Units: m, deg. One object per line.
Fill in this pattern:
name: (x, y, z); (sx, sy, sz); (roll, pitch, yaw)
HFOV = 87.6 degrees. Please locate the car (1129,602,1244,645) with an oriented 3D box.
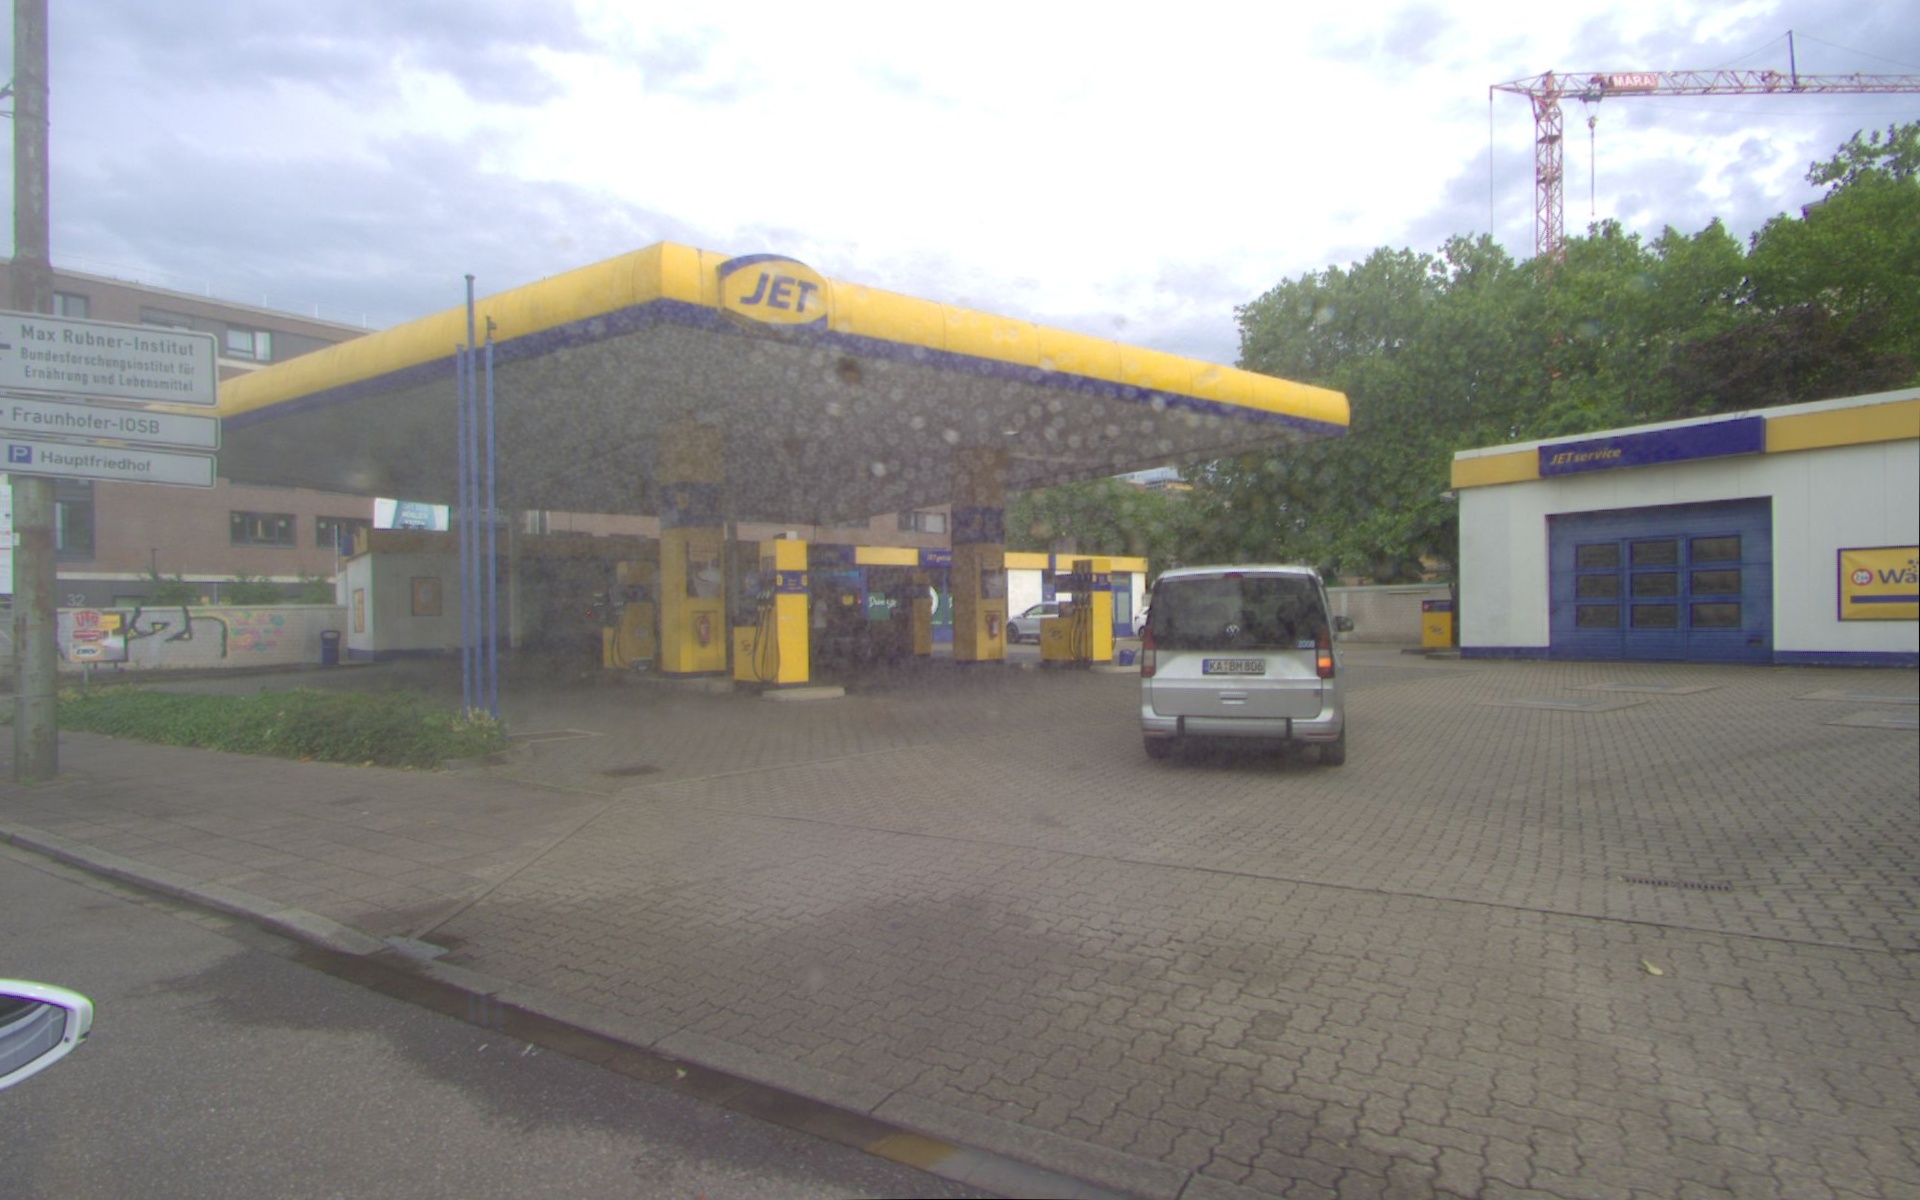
car: (9.237, 0.921, 41.152); (1.936, 1.607, 4.391); (1, 0, -37)

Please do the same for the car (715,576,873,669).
car: (-4.047, 0.545, 23.961); (1.804, 2.014, 4.219); (-2, -1, -40)

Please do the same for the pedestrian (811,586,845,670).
pedestrian: (-2.865, 0.608, 21.707); (0.694, 1.810, 0.627); (0, -1, -5)

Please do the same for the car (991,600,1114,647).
car: (3.399, 0.834, 37.781); (1.919, 1.617, 4.723); (0, 1, -38)

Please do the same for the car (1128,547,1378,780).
car: (2.891, 0.481, 10.437); (1.950, 1.868, 4.521); (-1, 1, 13)
